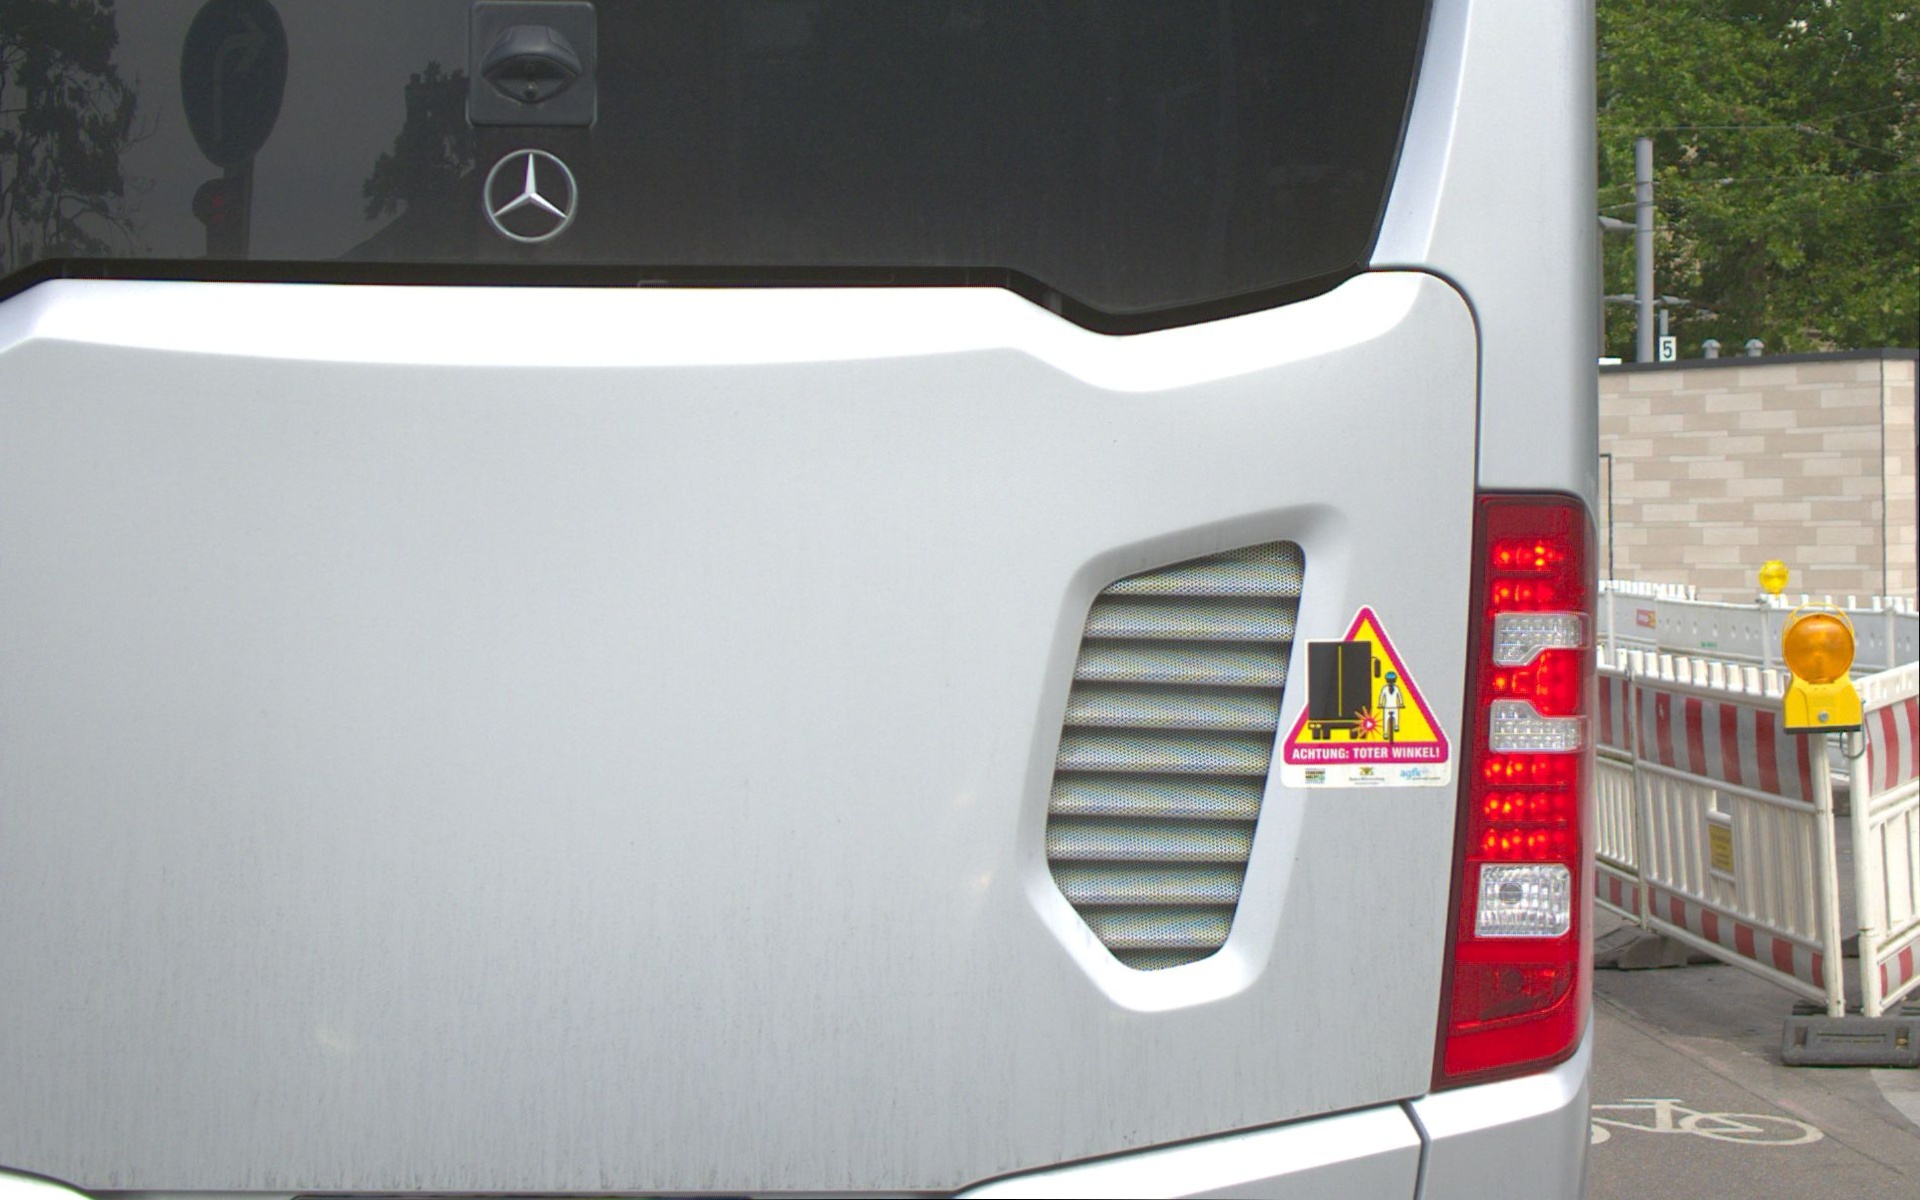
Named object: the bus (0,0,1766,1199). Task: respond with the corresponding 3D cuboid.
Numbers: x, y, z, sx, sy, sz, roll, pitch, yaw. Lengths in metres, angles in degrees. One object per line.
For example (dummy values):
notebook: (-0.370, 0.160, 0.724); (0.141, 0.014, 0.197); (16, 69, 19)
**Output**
bus: (-0.611, -0.479, 10.546); (2.704, 3.426, 14.184); (0, 1, -1)
